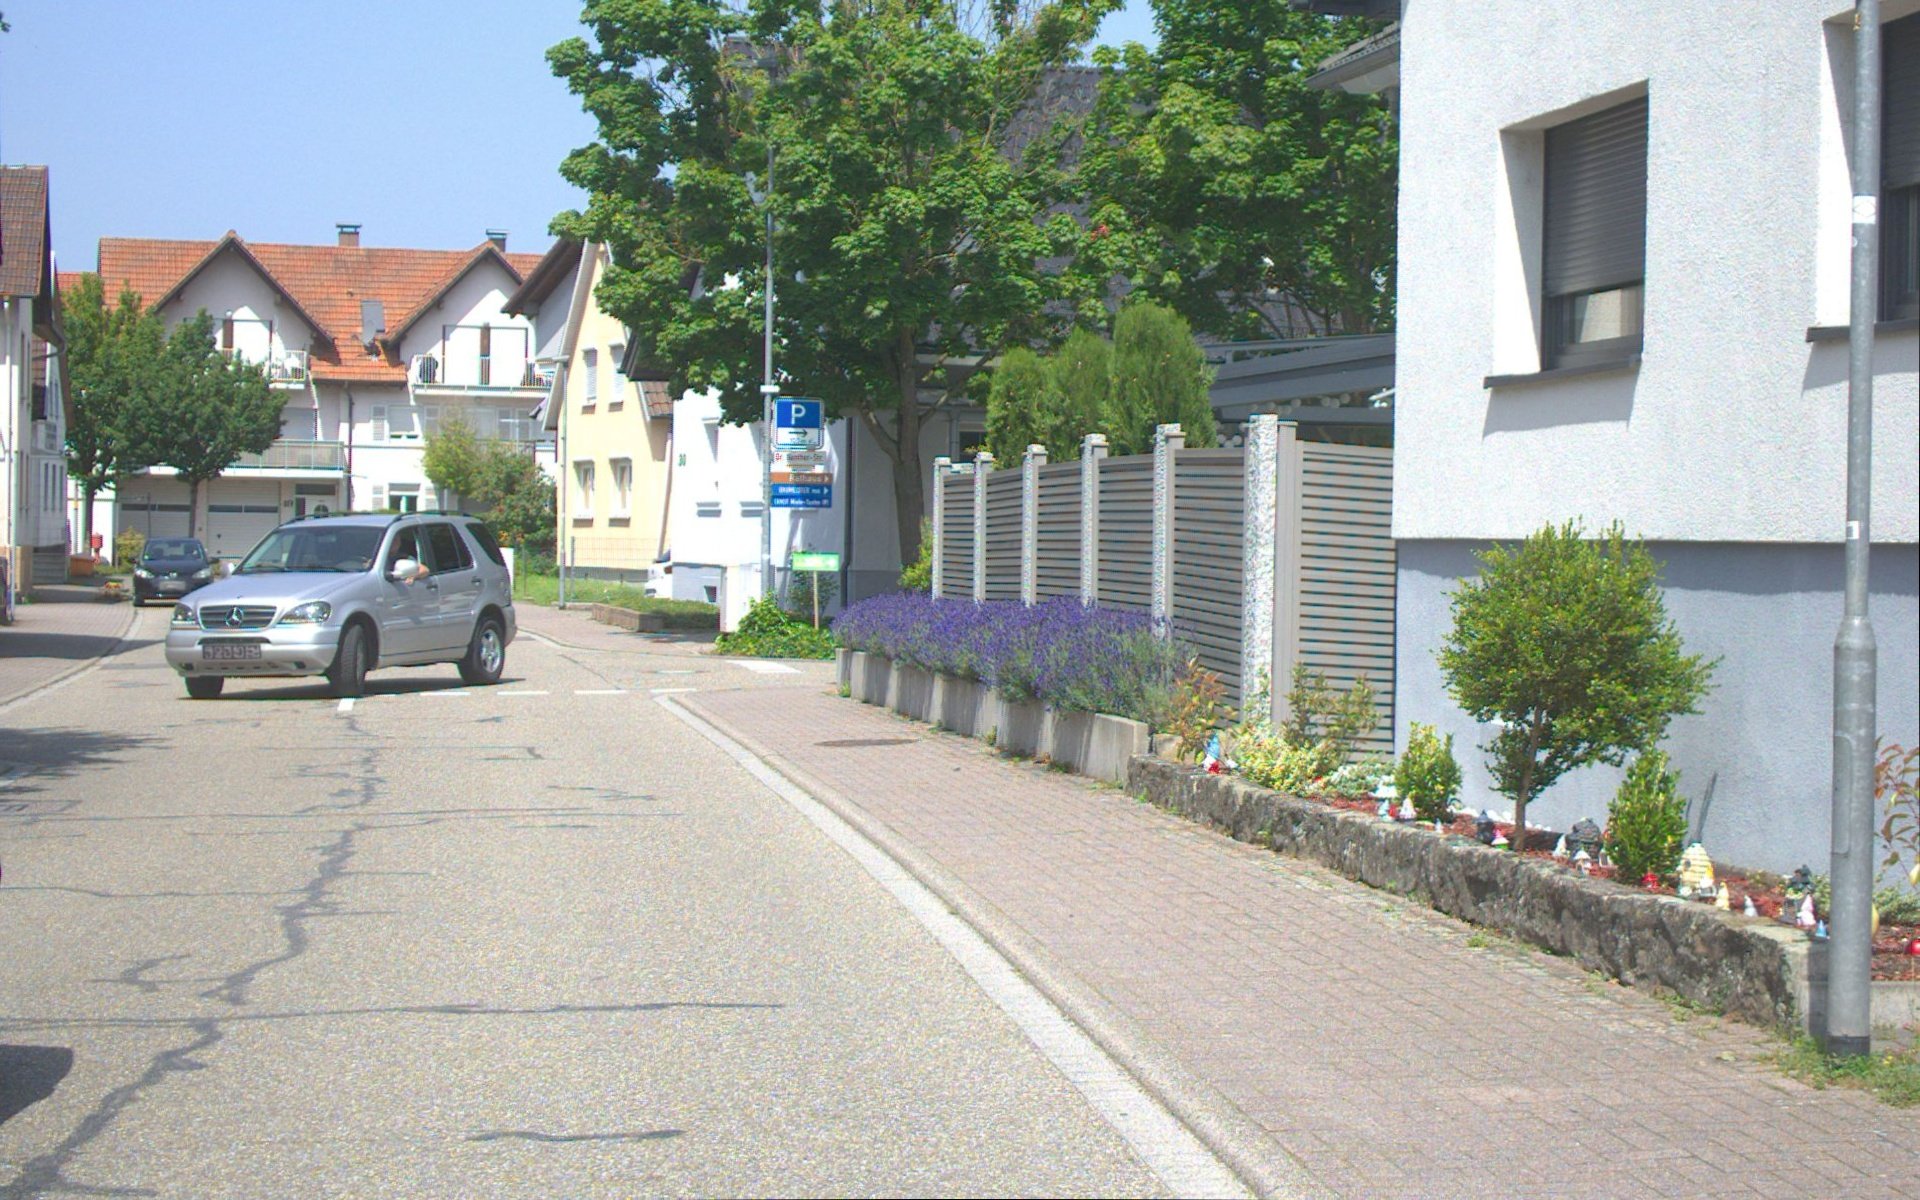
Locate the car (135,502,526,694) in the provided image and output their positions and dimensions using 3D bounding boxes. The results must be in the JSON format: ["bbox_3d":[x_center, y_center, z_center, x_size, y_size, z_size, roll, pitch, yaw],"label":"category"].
[{"bbox_3d":[-6.115,-0.068,33.959,1.887,1.761,4.327,-1,1,19],"label":"car"}]

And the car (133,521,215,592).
[{"bbox_3d":[-17.036,-0.967,74.412,1.626,1.481,4.001,0,1,-14],"label":"car"}]

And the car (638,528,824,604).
[{"bbox_3d":[-4.102,-0.607,61.453,3.042,1.341,1.423,0,0,-20],"label":"car"}]

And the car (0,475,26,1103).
[{"bbox_3d":[-3.223,0.530,7.069,1.776,1.618,4.106,0,1,-5],"label":"car"}]
